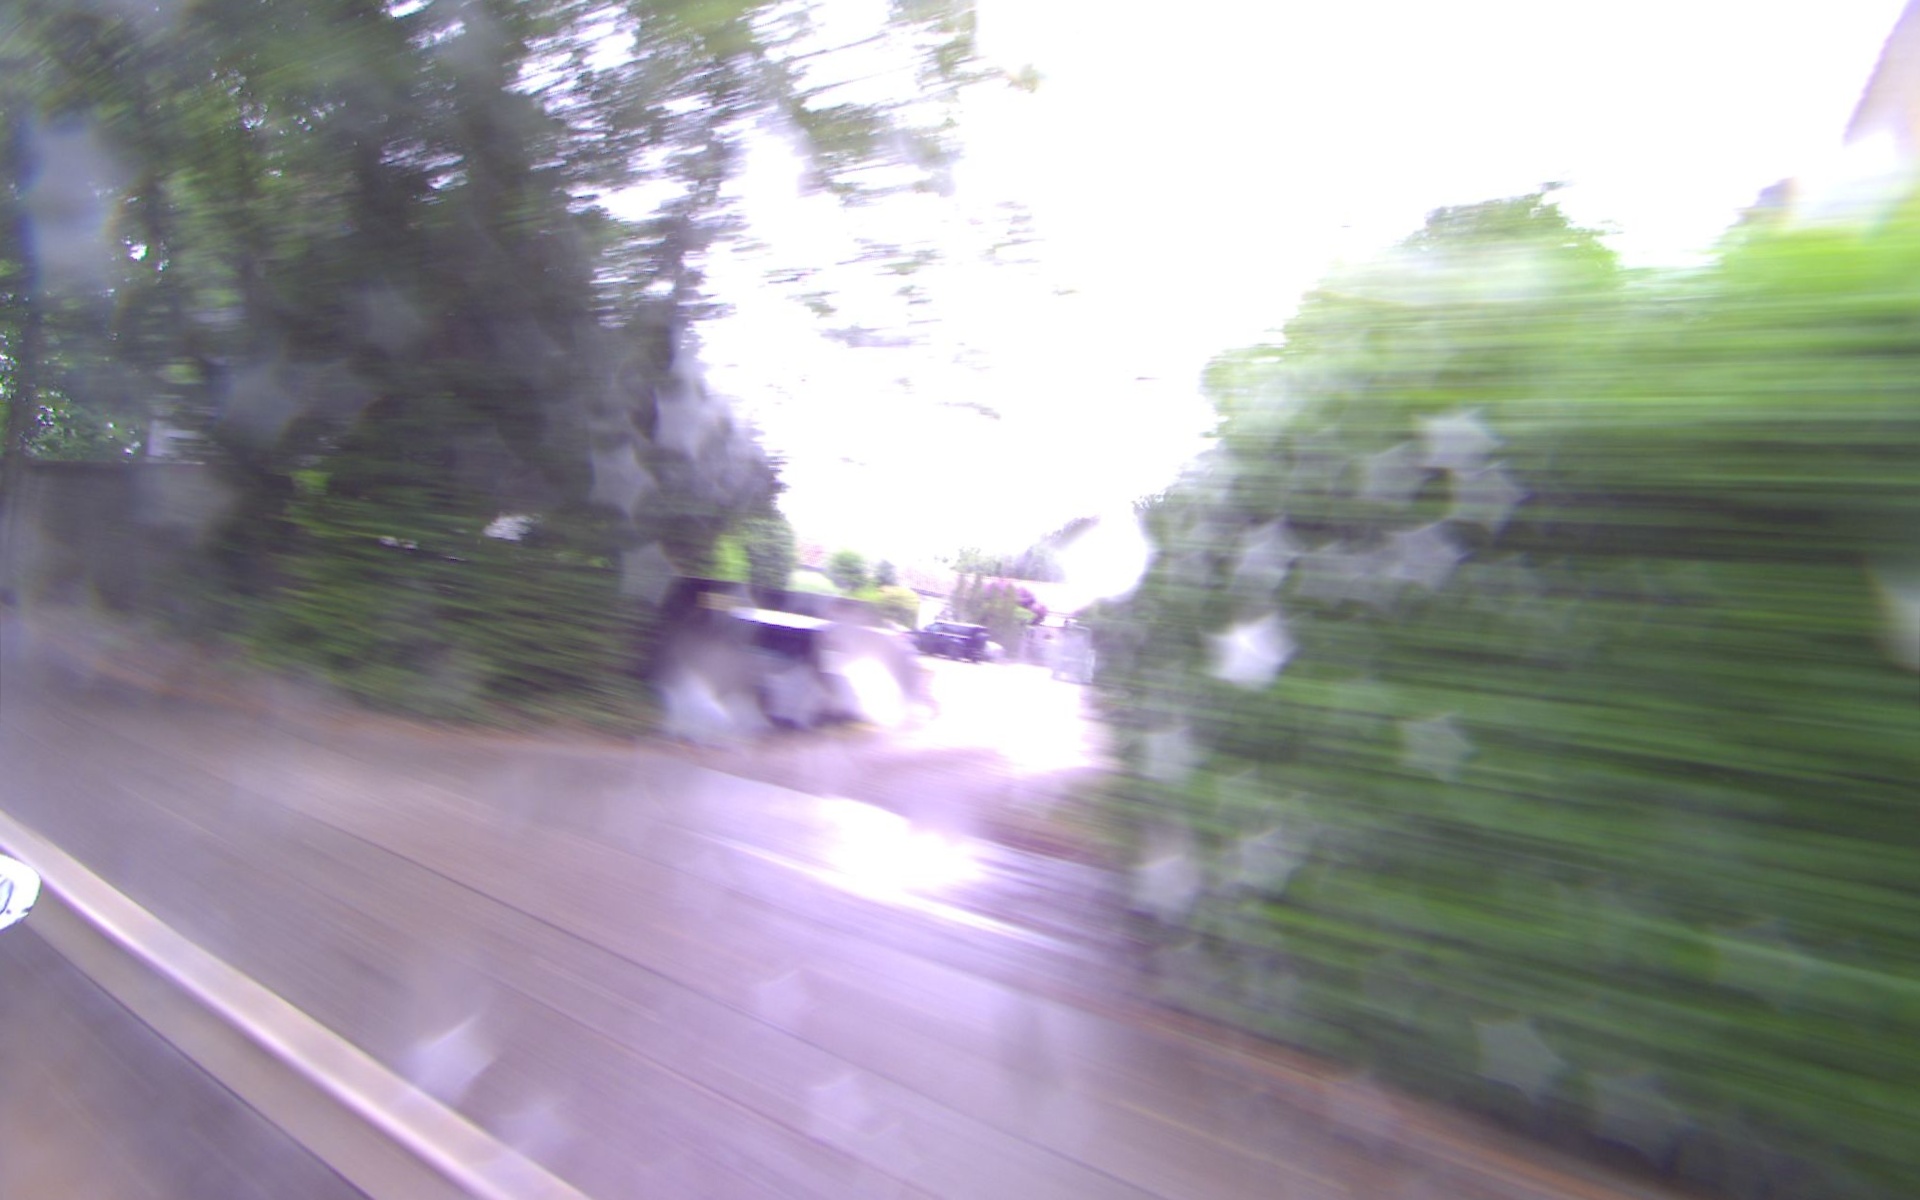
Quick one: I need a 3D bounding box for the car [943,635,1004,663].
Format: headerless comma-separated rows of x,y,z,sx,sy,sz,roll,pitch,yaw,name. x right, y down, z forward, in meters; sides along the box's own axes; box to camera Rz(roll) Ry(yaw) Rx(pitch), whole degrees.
0.738,2.641,54.446,3.048,1.073,1.398,8,-1,9,car

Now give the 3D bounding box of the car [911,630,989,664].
-0.469,2.357,50.425,3.584,1.216,1.624,8,-1,9,car
